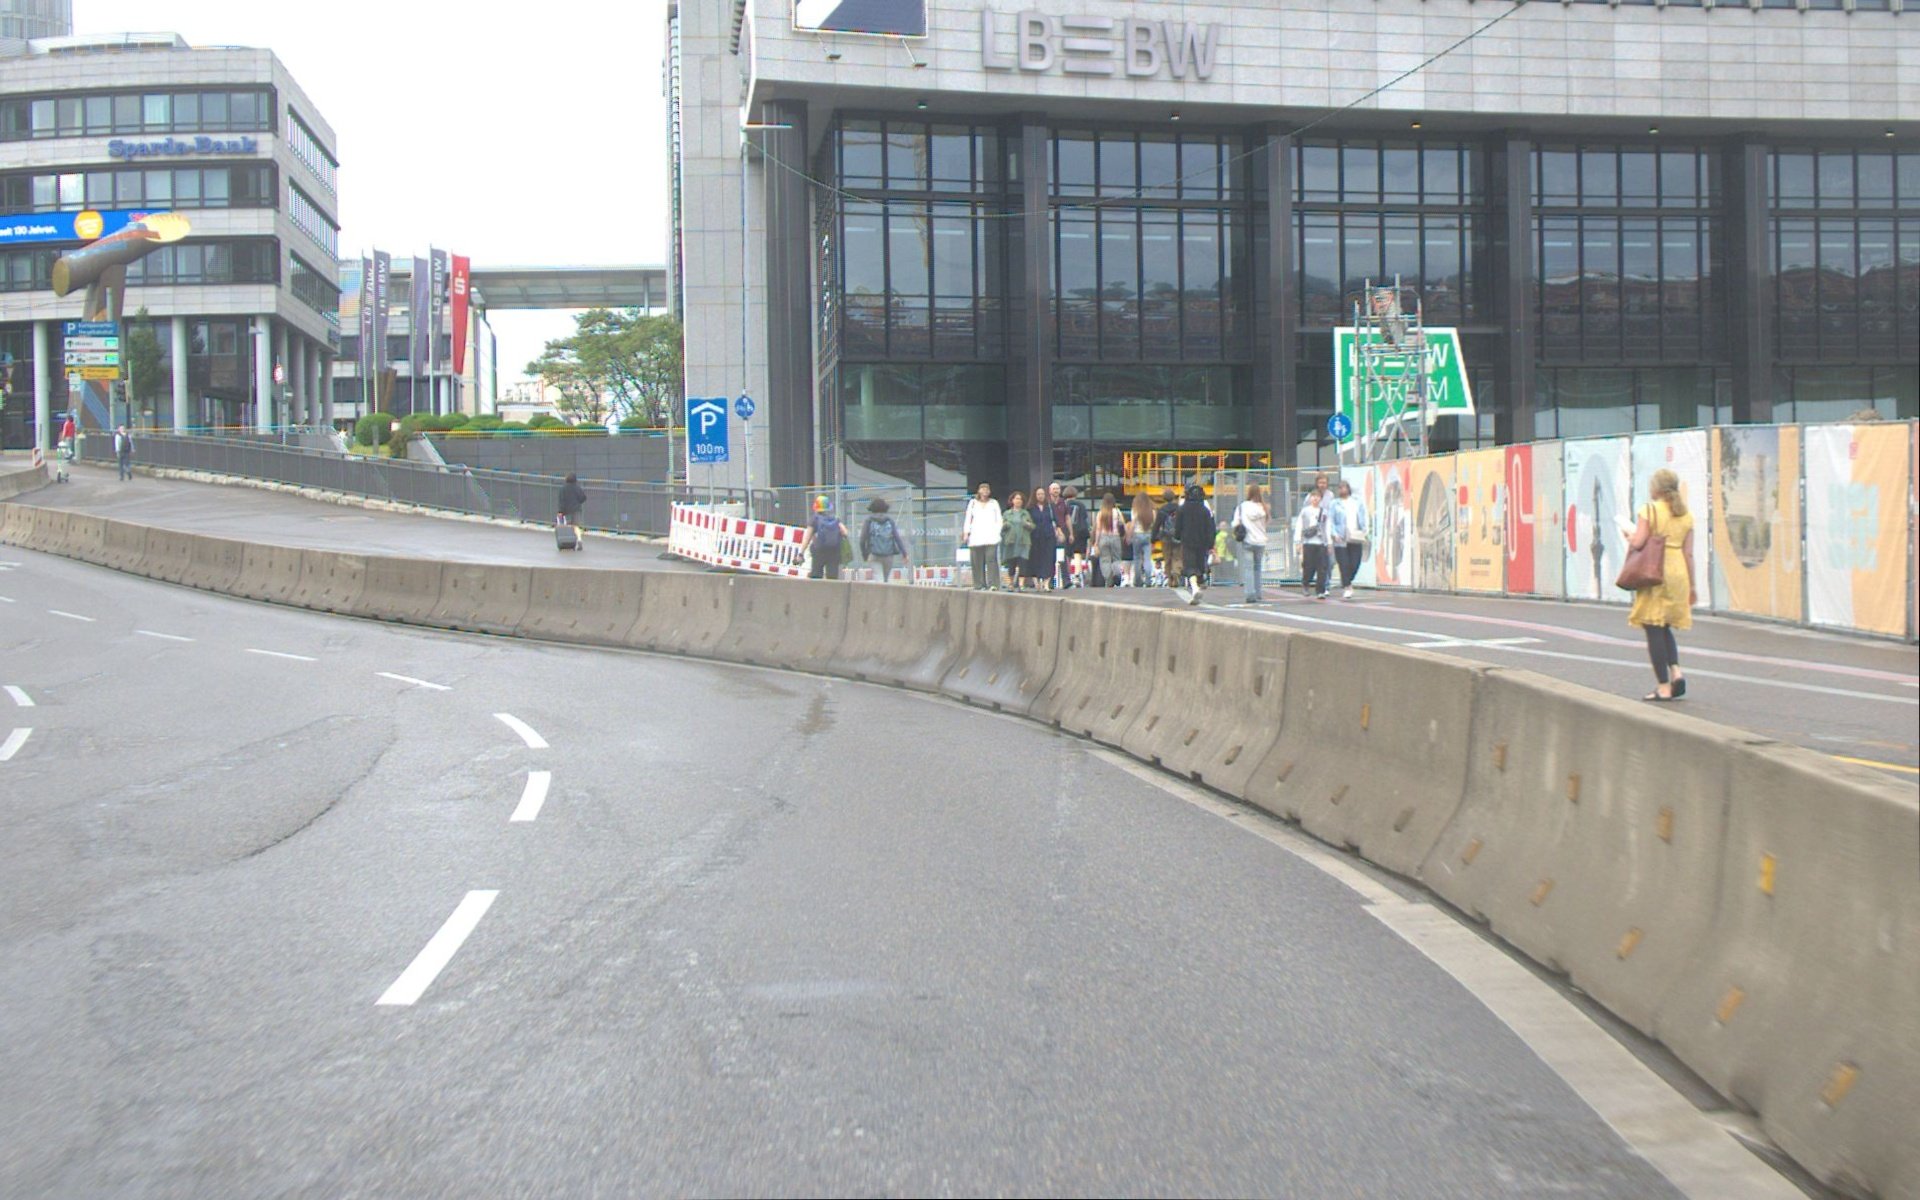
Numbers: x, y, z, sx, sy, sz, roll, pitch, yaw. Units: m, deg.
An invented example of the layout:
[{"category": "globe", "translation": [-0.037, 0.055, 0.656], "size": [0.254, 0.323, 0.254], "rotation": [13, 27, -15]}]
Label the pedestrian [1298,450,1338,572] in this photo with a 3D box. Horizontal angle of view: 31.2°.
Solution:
[{"category": "pedestrian", "translation": [5.053, -1.264, 48.543], "size": [0.448, 1.699, 0.647], "rotation": [-1, 2, -3]}]

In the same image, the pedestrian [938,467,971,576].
[{"category": "pedestrian", "translation": [-0.087, -1.249, 54.392], "size": [0.448, 1.699, 0.647], "rotation": [-1, 2, -6]}]

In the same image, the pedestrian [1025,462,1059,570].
[{"category": "pedestrian", "translation": [1.304, -1.344, 54.743], "size": [0.448, 1.699, 0.647], "rotation": [-1, 2, -6]}]

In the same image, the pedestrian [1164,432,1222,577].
[{"category": "pedestrian", "translation": [3.259, -1.339, 48.090], "size": [0.784, 2.006, 0.863], "rotation": [0, 2, 5]}]

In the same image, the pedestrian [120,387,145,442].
[{"category": "pedestrian", "translation": [-26.829, -6.009, 111.521], "size": [0.625, 1.758, 0.590], "rotation": [-1, 3, 1]}]

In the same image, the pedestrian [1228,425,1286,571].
[{"category": "pedestrian", "translation": [4.130, -1.420, 47.834], "size": [0.784, 2.006, 0.863], "rotation": [0, 2, 5]}]

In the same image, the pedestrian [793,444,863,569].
[{"category": "pedestrian", "translation": [-1.759, -1.252, 45.720], "size": [0.750, 1.636, 0.824], "rotation": [-1, 2, -14]}]

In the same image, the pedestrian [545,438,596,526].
[{"category": "pedestrian", "translation": [-7.958, -2.404, 70.186], "size": [0.756, 1.784, 1.057], "rotation": [-1, 2, -22]}]

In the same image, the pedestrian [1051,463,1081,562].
[{"category": "pedestrian", "translation": [1.844, -1.532, 59.955], "size": [0.448, 1.699, 0.647], "rotation": [0, 2, 7]}]

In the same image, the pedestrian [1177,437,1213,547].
[{"category": "pedestrian", "translation": [3.913, -1.807, 57.302], "size": [0.529, 1.812, 0.536], "rotation": [-1, 2, -2]}]

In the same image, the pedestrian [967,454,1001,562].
[{"category": "pedestrian", "translation": [0.378, -1.466, 54.445], "size": [0.448, 1.699, 0.647], "rotation": [-1, 2, -6]}]

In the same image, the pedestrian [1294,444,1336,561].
[{"category": "pedestrian", "translation": [5.230, -1.445, 50.633], "size": [0.500, 1.699, 0.733], "rotation": [-1, 2, -3]}]

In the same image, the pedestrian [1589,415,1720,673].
[{"category": "pedestrian", "translation": [5.056, -0.414, 25.060], "size": [0.732, 1.847, 0.831], "rotation": [-1, 2, -3]}]

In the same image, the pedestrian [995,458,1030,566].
[{"category": "pedestrian", "translation": [0.831, -1.401, 54.638], "size": [0.453, 1.699, 0.647], "rotation": [-1, 2, -6]}]

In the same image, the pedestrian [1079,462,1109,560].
[{"category": "pedestrian", "translation": [2.340, -1.552, 59.893], "size": [0.448, 1.699, 0.647], "rotation": [0, 2, 7]}]

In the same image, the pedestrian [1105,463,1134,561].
[{"category": "pedestrian", "translation": [2.780, -1.536, 59.868], "size": [0.448, 1.699, 0.647], "rotation": [0, 2, 7]}]

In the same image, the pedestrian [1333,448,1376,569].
[{"category": "pedestrian", "translation": [5.577, -1.298, 48.626], "size": [0.502, 1.699, 0.647], "rotation": [-1, 2, -3]}]

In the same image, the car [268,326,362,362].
[{"category": "car", "translation": [-27.171, -10.764, 144.827], "size": [1.625, 1.429, 3.733], "rotation": [2, 4, 38]}]

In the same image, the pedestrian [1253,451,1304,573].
[{"category": "pedestrian", "translation": [4.490, -1.248, 48.538], "size": [0.625, 1.699, 0.647], "rotation": [-1, 2, -3]}]

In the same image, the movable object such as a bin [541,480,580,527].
[{"category": "movable object such as a bin", "translation": [-8.108, -1.963, 69.762], "size": [0.598, 0.930, 0.742], "rotation": [-1, 2, -23]}]

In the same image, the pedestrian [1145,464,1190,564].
[{"category": "pedestrian", "translation": [3.549, -1.476, 58.757], "size": [0.511, 1.699, 0.574], "rotation": [-3, 3, -39]}]

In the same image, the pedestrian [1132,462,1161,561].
[{"category": "pedestrian", "translation": [3.240, -1.541, 59.811], "size": [0.448, 1.699, 0.647], "rotation": [0, 2, 7]}]

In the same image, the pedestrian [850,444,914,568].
[{"category": "pedestrian", "translation": [-1.044, -1.263, 45.880], "size": [0.658, 1.636, 0.824], "rotation": [-1, 2, -14]}]
